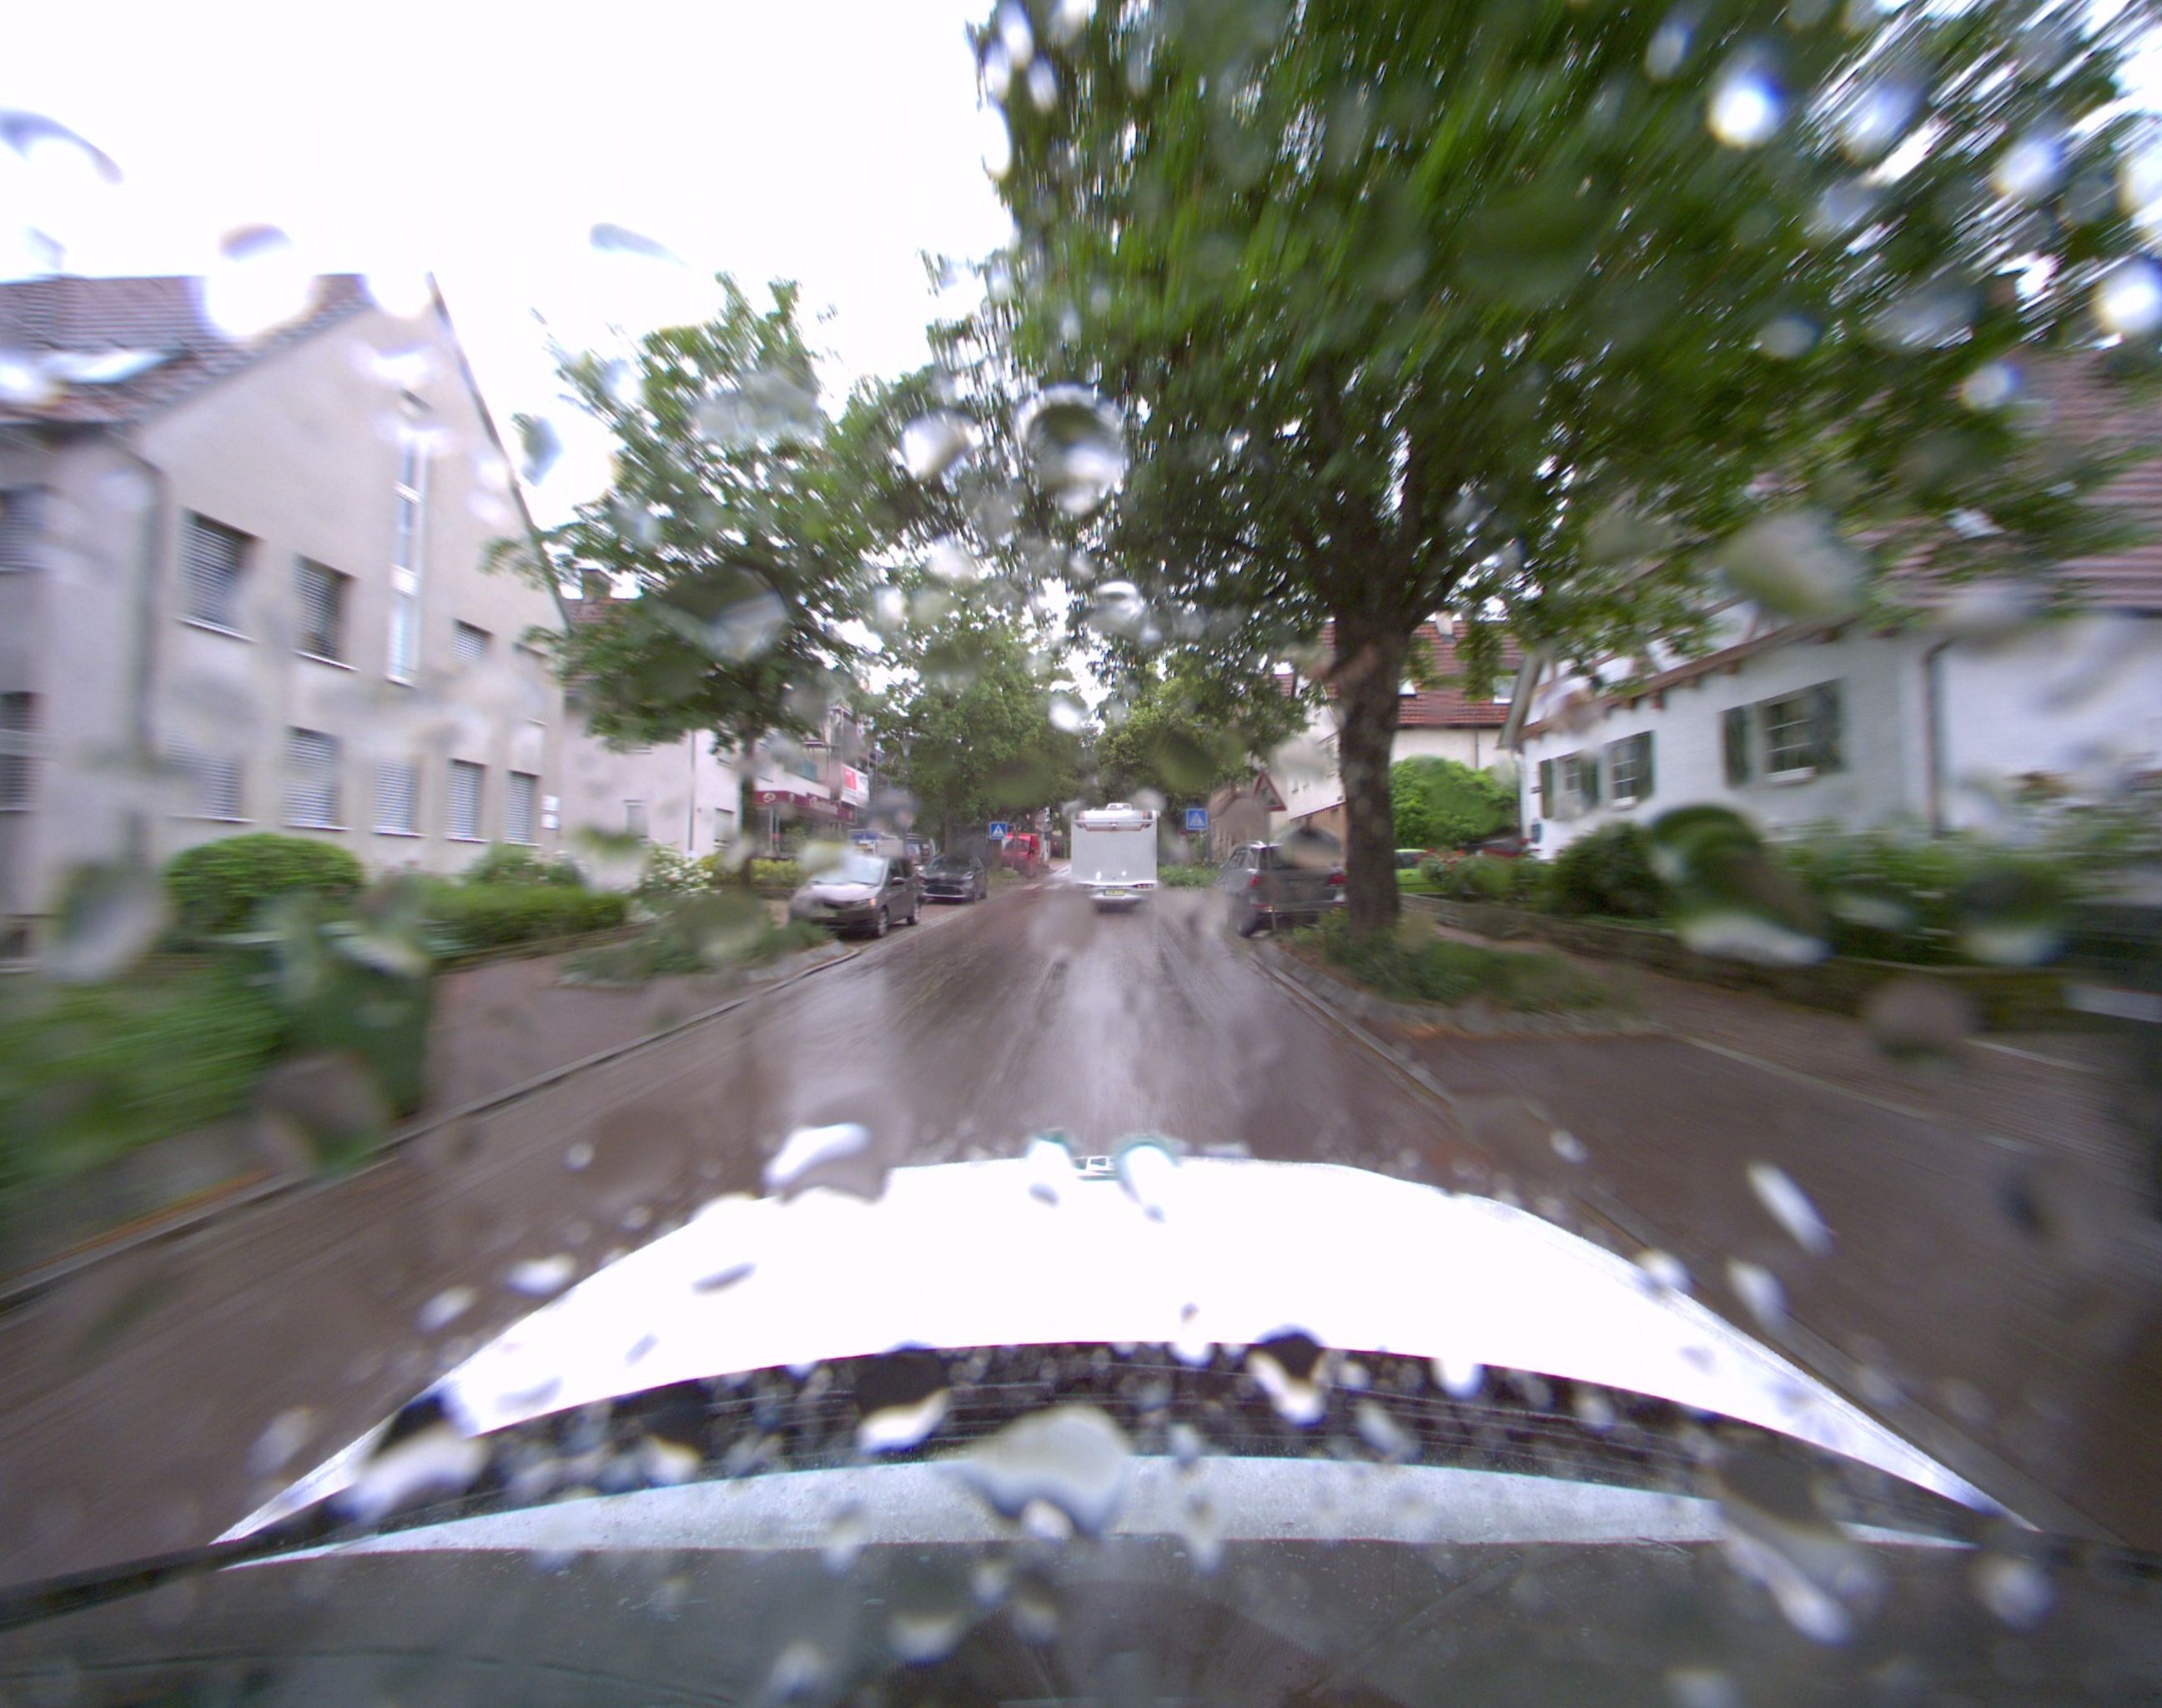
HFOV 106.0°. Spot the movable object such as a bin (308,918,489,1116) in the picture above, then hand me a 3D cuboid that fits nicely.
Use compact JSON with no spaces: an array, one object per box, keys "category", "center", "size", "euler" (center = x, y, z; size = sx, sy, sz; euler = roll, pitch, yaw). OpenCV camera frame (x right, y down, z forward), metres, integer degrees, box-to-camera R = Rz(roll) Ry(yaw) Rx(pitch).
[{"category":"movable object such as a bin","center":[-4.192,0.977,5.036],"size":[0.640,1.111,0.536],"euler":[-1,0,3]}]

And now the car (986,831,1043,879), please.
[{"category":"car","center":[-3.662,0.001,45.925],"size":[2.293,2.483,5.792],"euler":[0,1,5]}]

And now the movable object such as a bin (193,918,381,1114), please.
[{"category":"movable object such as a bin","center":[-4.952,0.983,5.111],"size":[0.608,1.111,0.565],"euler":[-1,0,3]}]

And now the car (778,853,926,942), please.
[{"category":"car","center":[-4.449,0.770,16.441],"size":[1.640,1.533,3.870],"euler":[1,0,4]}]

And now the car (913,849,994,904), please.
[{"category":"car","center":[-3.926,0.644,25.674],"size":[1.765,1.553,4.002],"euler":[2,1,2]}]

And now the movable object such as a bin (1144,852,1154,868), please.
[{"category":"movable object such as a bin","center":[4.982,0.436,59.904],"size":[0.718,1.212,0.727],"euler":[0,0,2]}]

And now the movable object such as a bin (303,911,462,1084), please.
[{"category":"movable object such as a bin","center":[-4.895,0.983,5.738],"size":[0.608,1.111,0.565],"euler":[-1,0,3]}]

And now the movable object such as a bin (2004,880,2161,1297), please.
[{"category":"movable object such as a bin","center":[4.046,0.750,2.453],"size":[1.219,1.315,1.135],"euler":[-1,0,4]}]

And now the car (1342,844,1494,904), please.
[{"category":"car","center":[8.888,0.511,21.658],"size":[3.355,1.430,1.630],"euler":[-2,0,-2]}]

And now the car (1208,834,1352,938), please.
[{"category":"car","center":[3.781,0.548,16.296],"size":[1.907,1.792,4.490],"euler":[0,0,1]}]

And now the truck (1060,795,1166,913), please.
[{"category":"truck","center":[0.922,0.002,23.730],"size":[2.684,2.986,6.239],"euler":[0,0,2]}]
